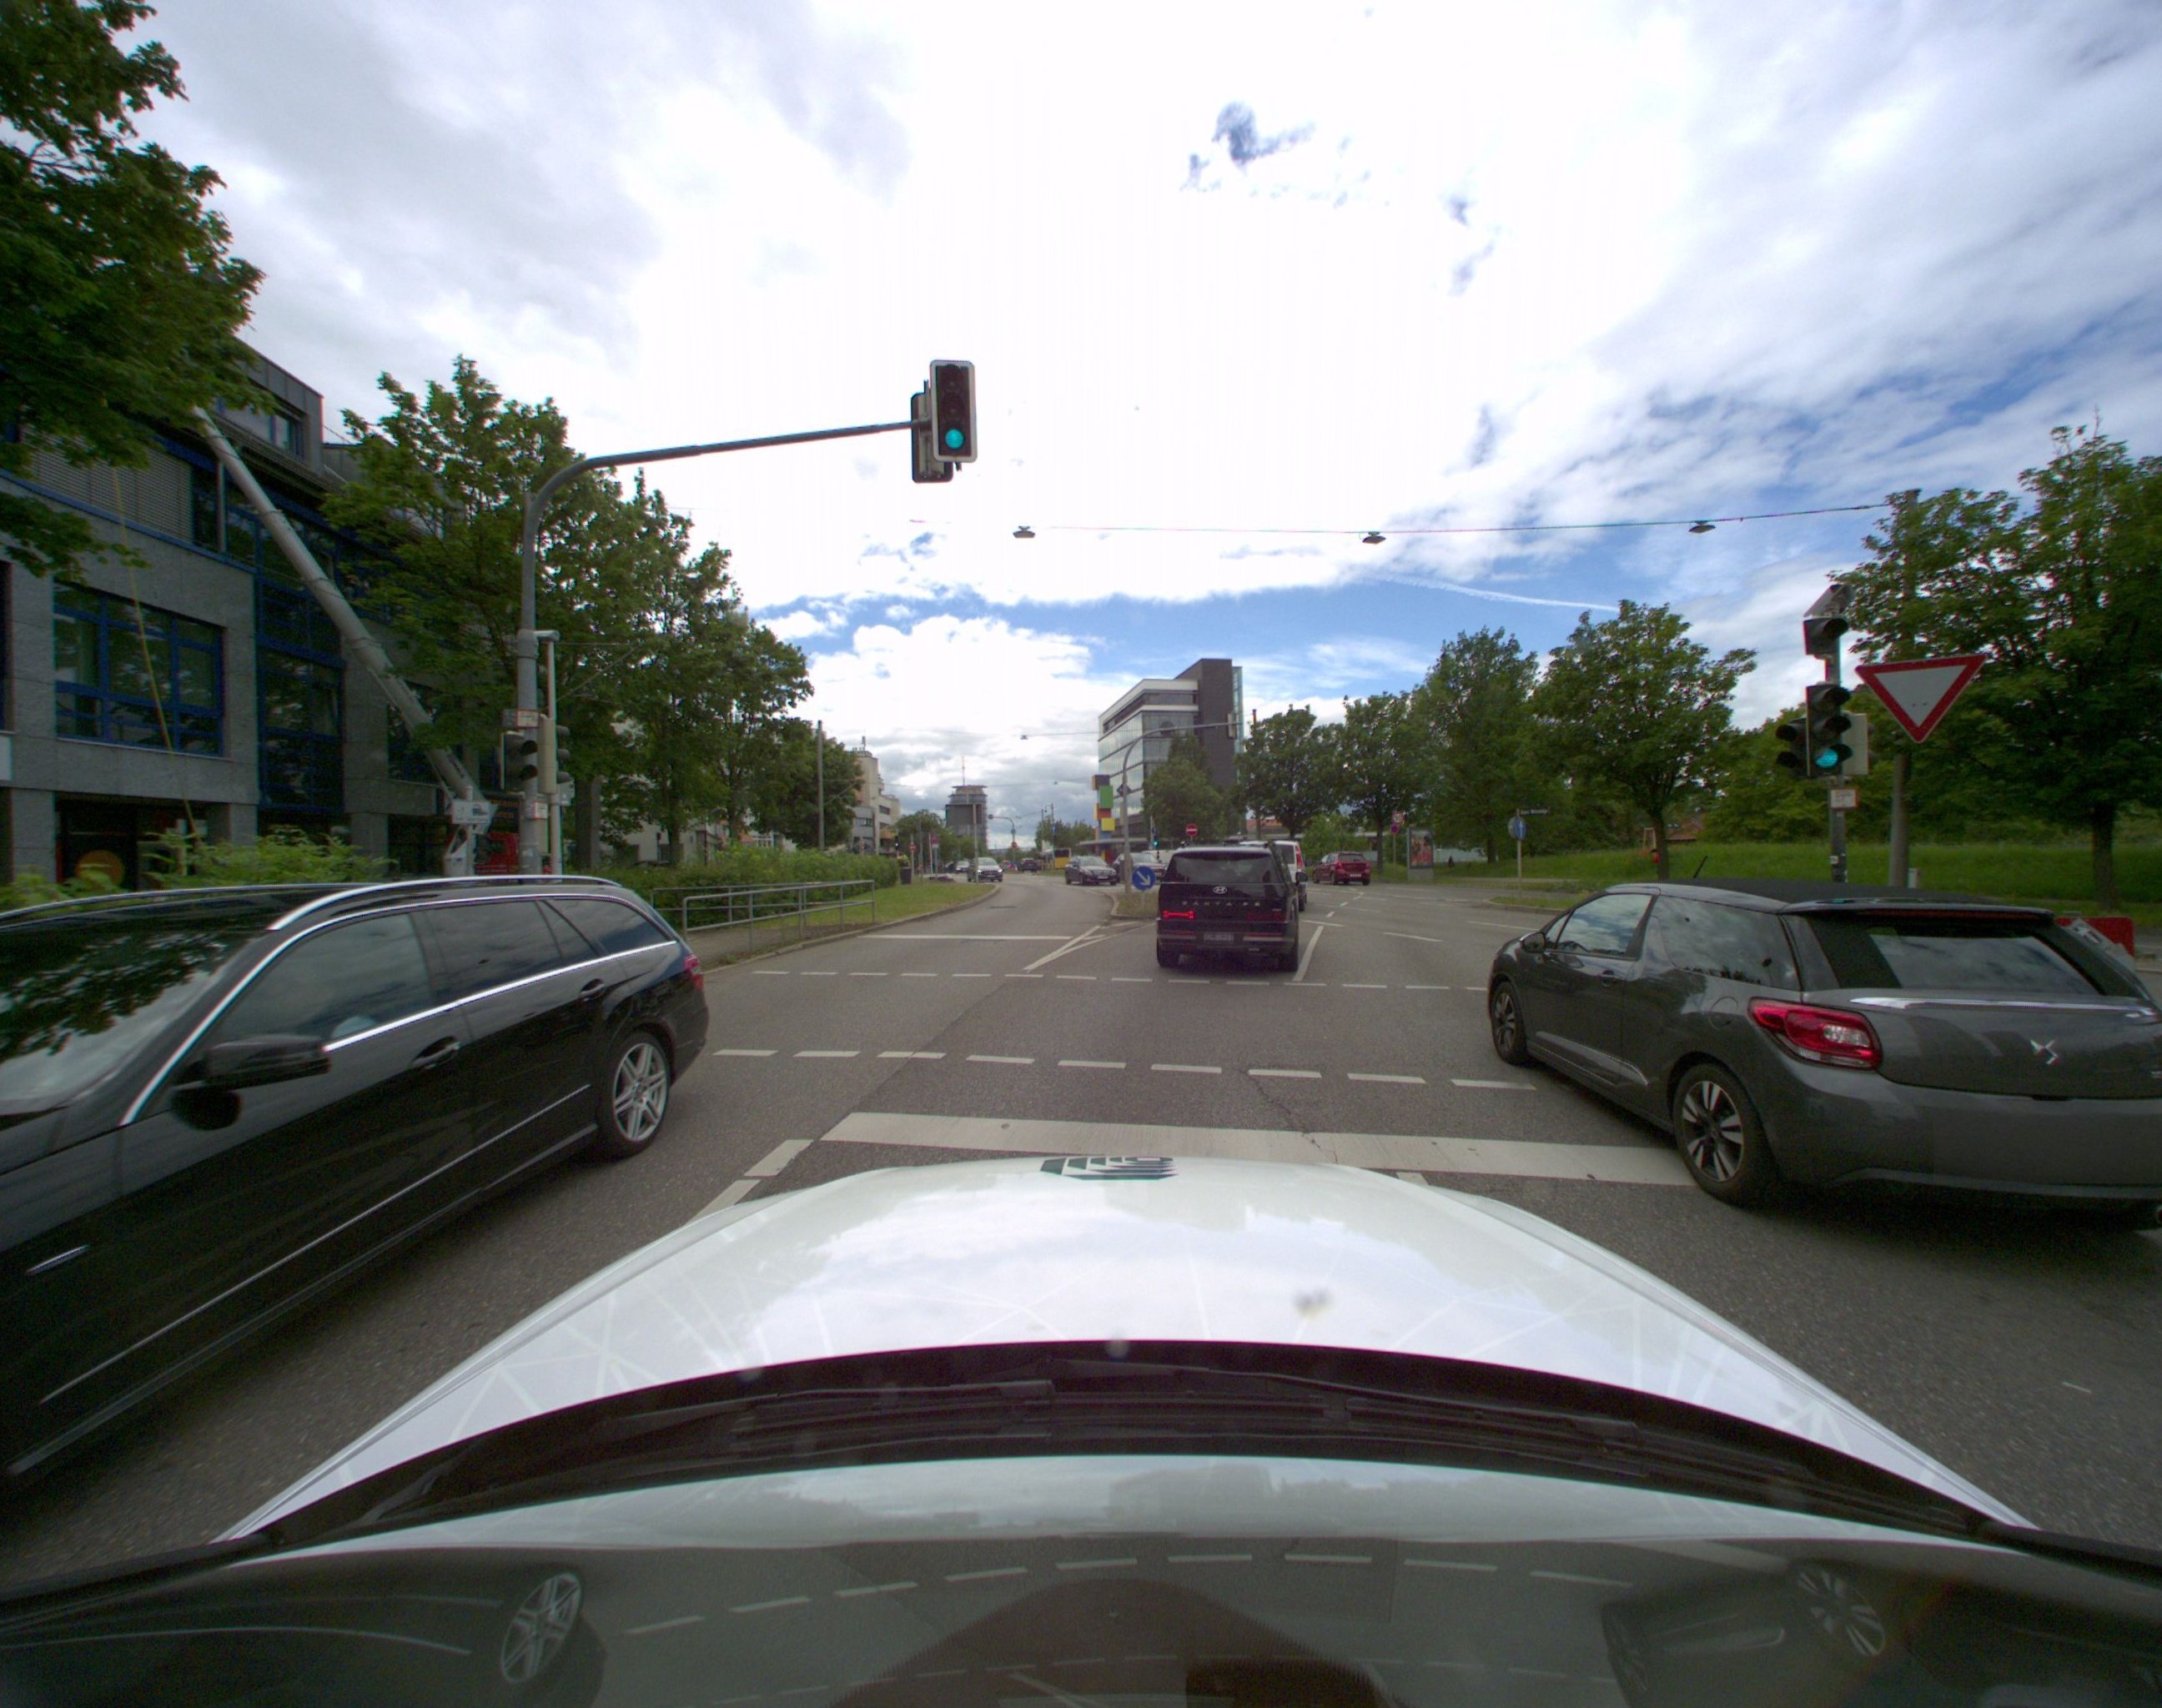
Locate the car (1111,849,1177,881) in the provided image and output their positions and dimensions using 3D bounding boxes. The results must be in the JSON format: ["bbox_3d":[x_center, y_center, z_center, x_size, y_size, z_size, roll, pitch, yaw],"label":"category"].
[{"bbox_3d":[3.185,0.533,42.086,1.893,1.564,4.369,0,0,-18],"label":"car"}]

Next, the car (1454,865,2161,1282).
[{"bbox_3d":[3.844,0.826,5.016,1.691,1.461,4.070,0,0,7],"label":"car"}]

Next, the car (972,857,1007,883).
[{"bbox_3d":[-5.990,1.012,52.886,1.785,1.537,4.375,0,0,-14],"label":"car"}]

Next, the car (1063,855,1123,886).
[{"bbox_3d":[0.538,0.777,40.437,1.787,1.425,4.372,0,0,-16],"label":"car"}]

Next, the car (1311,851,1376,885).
[{"bbox_3d":[12.011,0.610,37.497,1.739,1.481,3.717,0,0,-1],"label":"car"}]

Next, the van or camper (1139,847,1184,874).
[{"bbox_3d":[6.023,0.469,61.679,1.997,1.917,4.387,-1,1,-15],"label":"van or camper"}]

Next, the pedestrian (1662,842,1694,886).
[{"bbox_3d":[22.836,0.371,31.161,0.542,1.603,0.698,-6,2,-17],"label":"pedestrian"}]

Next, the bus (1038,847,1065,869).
[{"bbox_3d":[-4.579,0.690,124.322,2.951,3.111,9.946,-3,-1,-8],"label":"bus"}]

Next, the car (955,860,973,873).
[{"bbox_3d":[-13.455,1.404,93.268,1.799,1.455,4.594,-2,-1,-11],"label":"car"}]

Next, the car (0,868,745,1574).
[{"bbox_3d":[-3.215,0.849,3.036,1.839,1.436,4.706,-2,0,1],"label":"car"}]

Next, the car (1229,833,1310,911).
[{"bbox_3d":[5.441,0.452,23.118,1.887,1.969,4.656,0,0,17],"label":"car"}]

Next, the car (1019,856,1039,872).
[{"bbox_3d":[-6.264,1.212,97.196,1.902,1.859,4.694,0,0,-10],"label":"car"}]

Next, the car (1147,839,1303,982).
[{"bbox_3d":[2.344,0.686,12.243,1.888,1.731,4.464,0,0,15],"label":"car"}]

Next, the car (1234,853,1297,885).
[{"bbox_3d":[8.692,0.683,38.695,1.868,1.418,4.439,0,0,-2],"label":"car"}]

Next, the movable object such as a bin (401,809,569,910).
[{"bbox_3d":[-16.513,0.142,22.878,1.903,2.531,4.118,2,0,-6],"label":"movable object such as a bin"}]

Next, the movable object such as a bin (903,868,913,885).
[{"bbox_3d":[-10.529,1.344,49.483,0.565,1.012,0.834,-1,0,-15],"label":"movable object such as a bin"}]

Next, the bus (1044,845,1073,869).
[{"bbox_3d":[-3.234,0.526,114.934,2.965,3.116,9.216,-3,-1,-8],"label":"bus"}]
